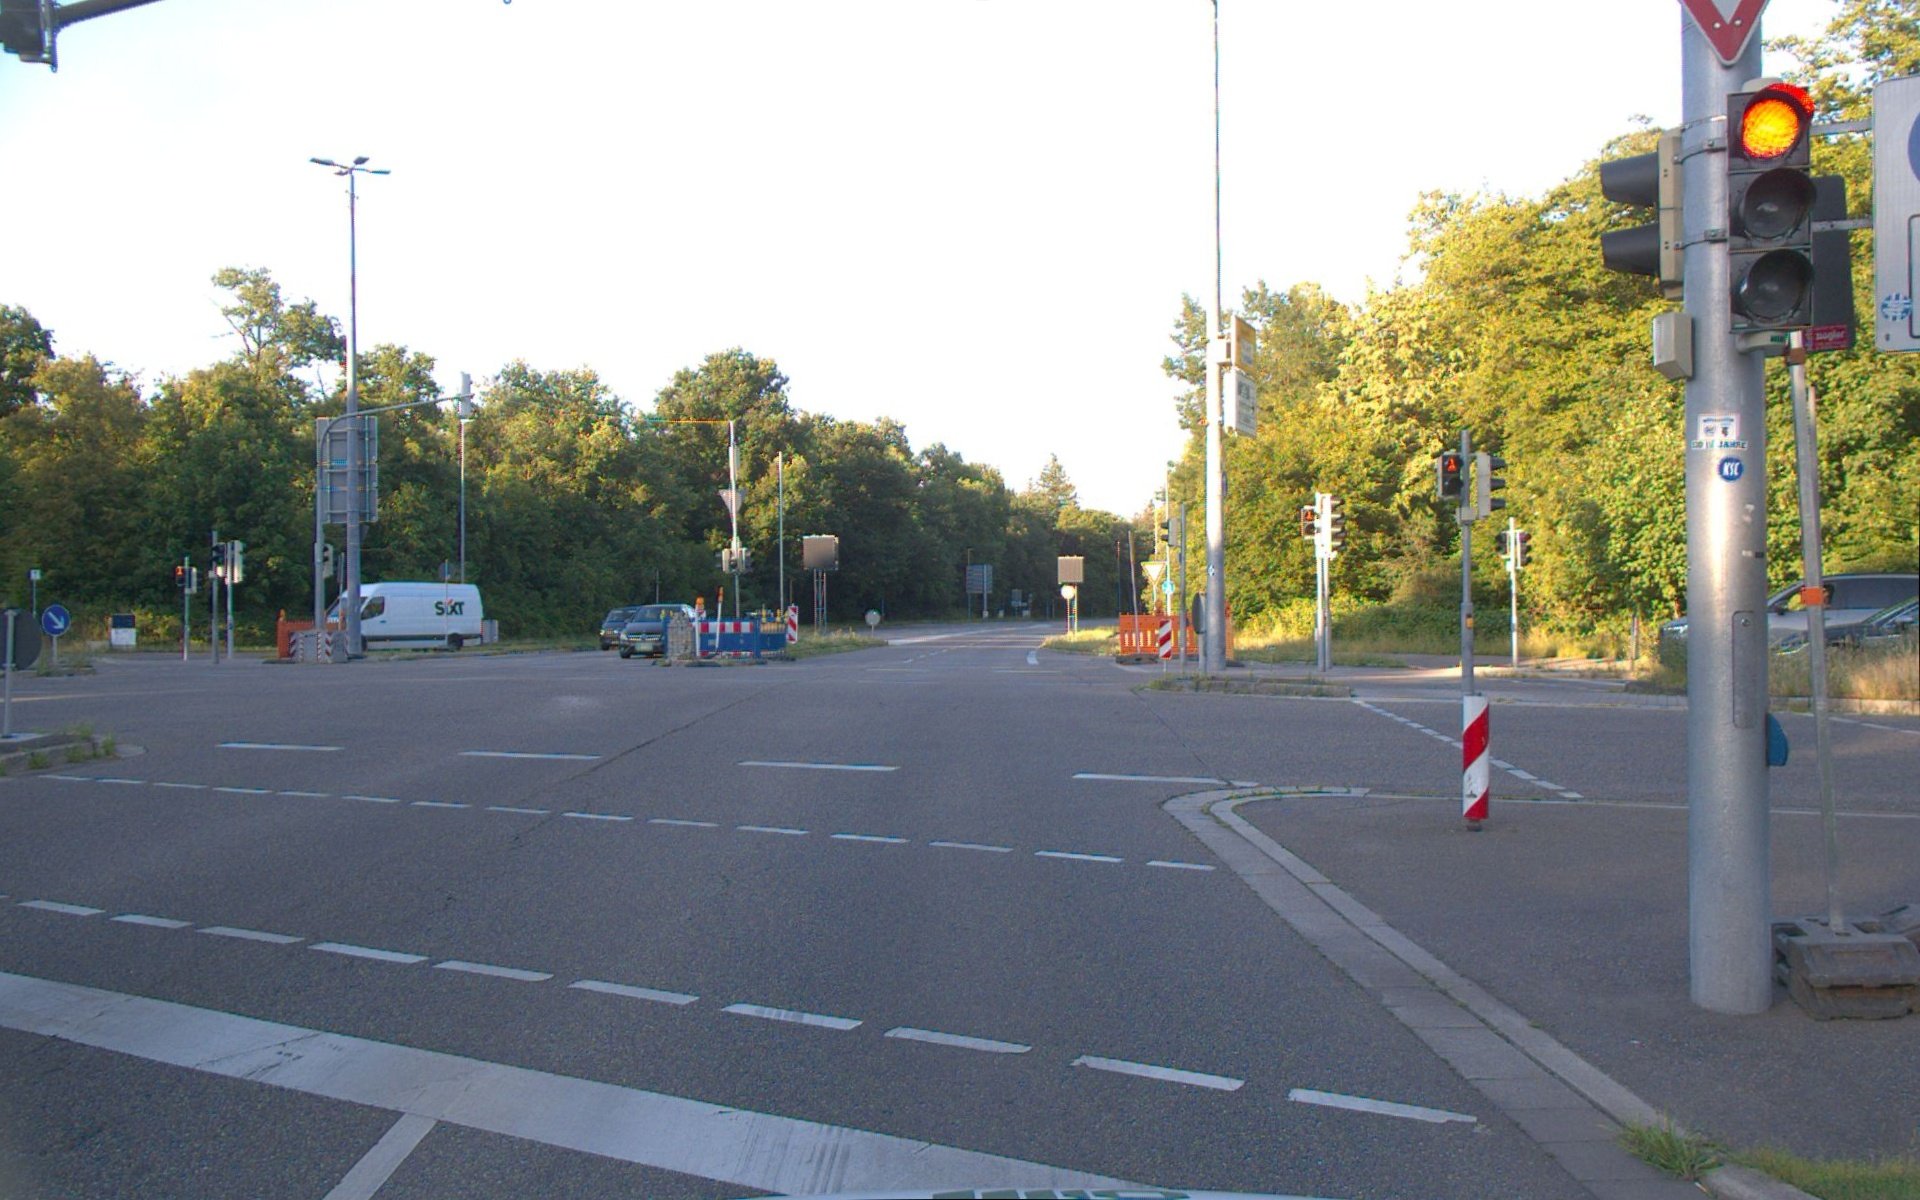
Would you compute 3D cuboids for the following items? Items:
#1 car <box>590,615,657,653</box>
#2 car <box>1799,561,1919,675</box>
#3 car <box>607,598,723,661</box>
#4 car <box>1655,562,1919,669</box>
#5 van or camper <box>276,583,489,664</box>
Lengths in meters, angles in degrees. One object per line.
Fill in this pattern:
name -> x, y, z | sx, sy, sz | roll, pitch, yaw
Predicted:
car -> -15.516, 1.556, 76.512 | 1.951, 1.668, 4.003 | 0, 0, 5
car -> 13.663, 0.237, 22.585 | 3.783, 1.515, 1.771 | 0, 0, 22
car -> -8.568, 0.831, 48.360 | 1.951, 1.668, 4.004 | -2, 1, 11
car -> 13.748, 0.245, 26.498 | 4.716, 1.626, 2.000 | -1, 0, 21
van or camper -> -20.504, 0.791, 59.160 | 2.831, 2.699, 7.109 | 0, 0, 30
